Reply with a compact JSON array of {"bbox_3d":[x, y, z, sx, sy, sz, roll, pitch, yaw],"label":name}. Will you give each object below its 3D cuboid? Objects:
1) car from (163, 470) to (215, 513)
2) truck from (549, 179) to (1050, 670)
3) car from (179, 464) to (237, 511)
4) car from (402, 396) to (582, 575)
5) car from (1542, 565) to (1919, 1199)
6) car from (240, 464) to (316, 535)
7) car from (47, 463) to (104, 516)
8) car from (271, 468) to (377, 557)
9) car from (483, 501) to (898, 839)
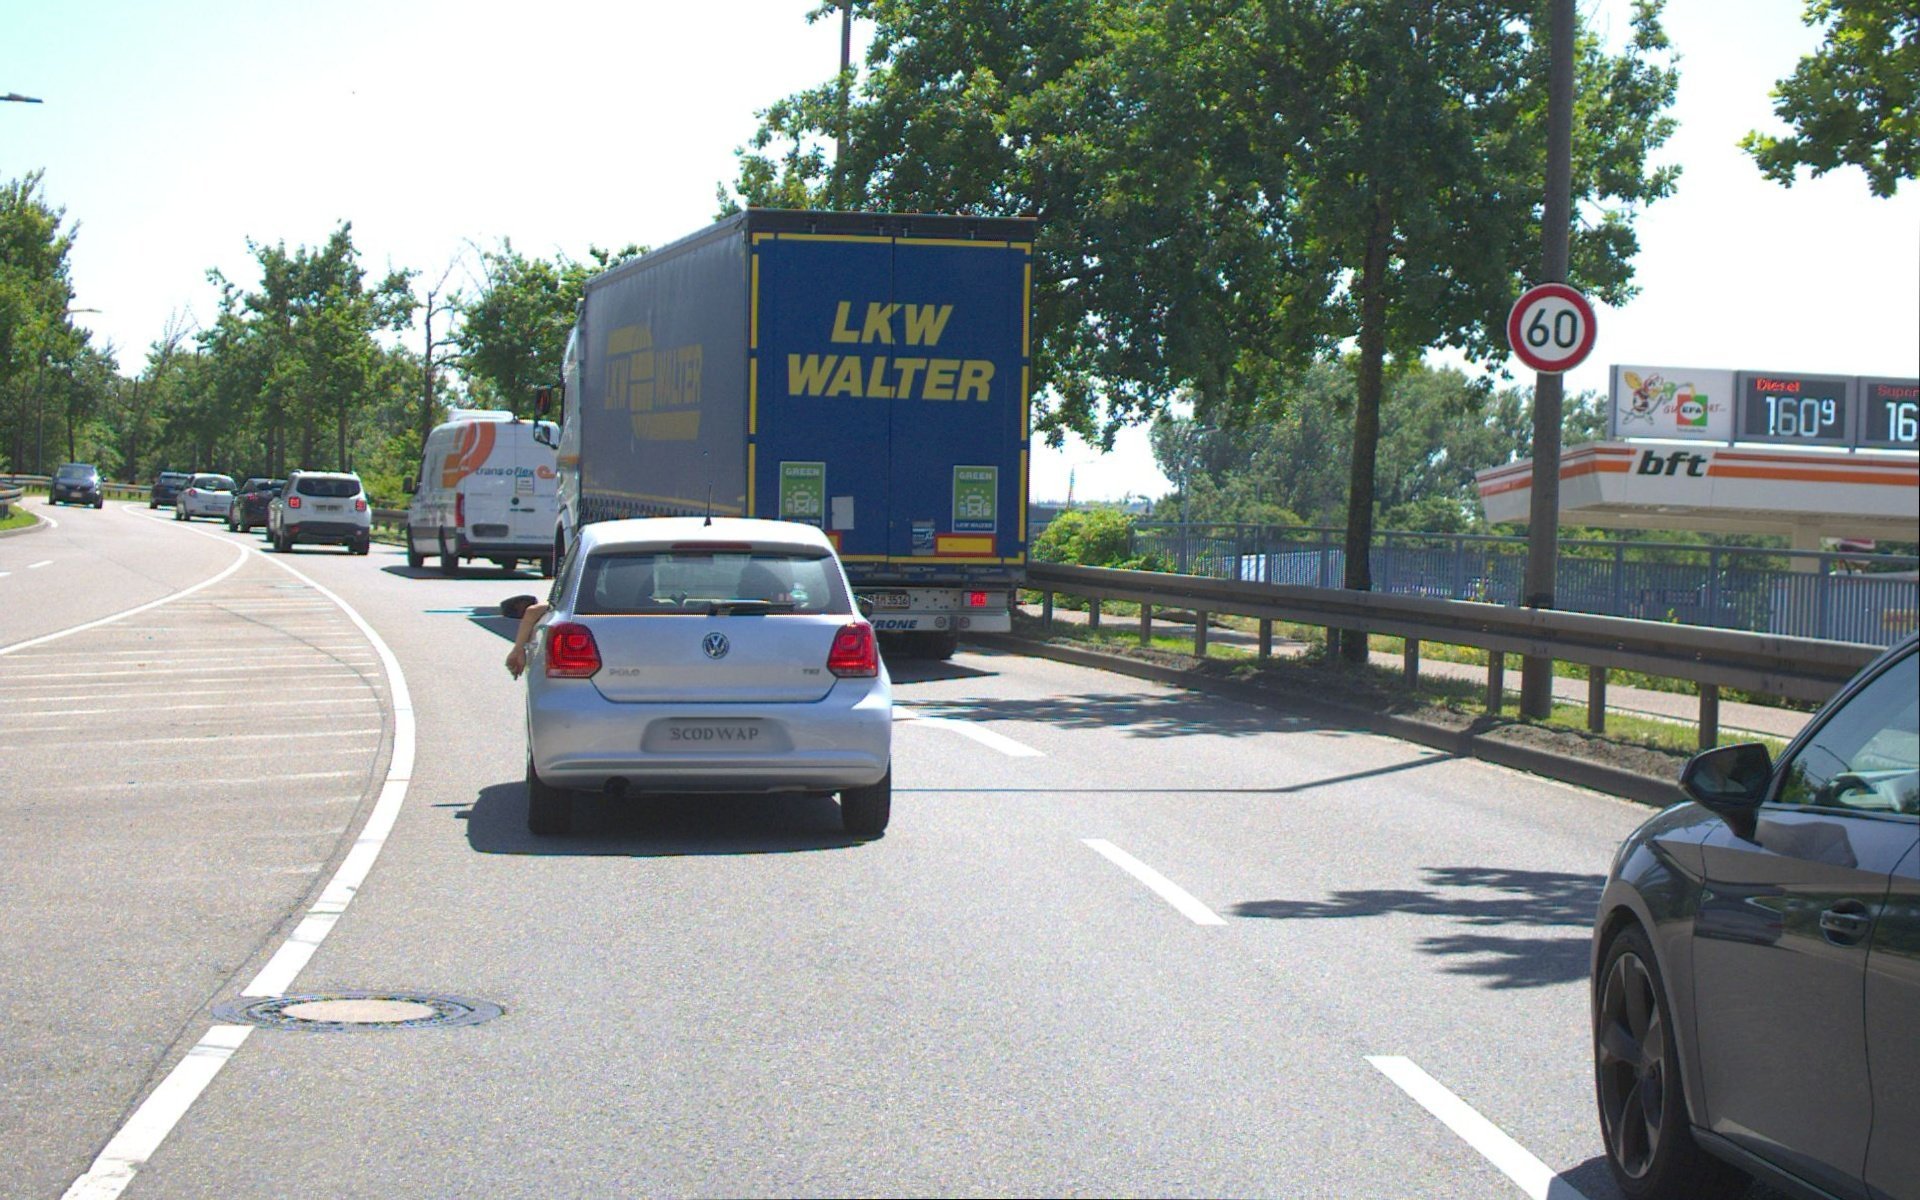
[{"bbox_3d":[-28.773,-4.052,128.427,1.664,1.460,3.582,2,0,-9],"label":"car"},{"bbox_3d":[-2.346,-1.646,38.096,2.832,4.184,16.479,2,1,-12],"label":"truck"},{"bbox_3d":[-22.902,-3.408,104.589,1.607,1.355,3.664,2,1,-14],"label":"car"},{"bbox_3d":[-8.277,-2.009,60.222,2.175,2.890,6.360,2,2,-16],"label":"car"},{"bbox_3d":[2.372,0.689,5.980,1.604,1.451,4.236,2,0,-5],"label":"car"},{"bbox_3d":[-18.109,-2.649,91.194,1.721,1.720,4.001,2,0,-14],"label":"car"},{"bbox_3d":[-29.828,-3.732,116.003,1.678,1.665,3.756,1,3,-12],"label":"car"},{"bbox_3d":[-13.228,-1.787,71.340,1.903,1.712,4.225,2,0,-13],"label":"car"},{"bbox_3d":[-1.408,0.308,16.733,1.645,1.434,3.538,2,0,-10],"label":"car"}]
